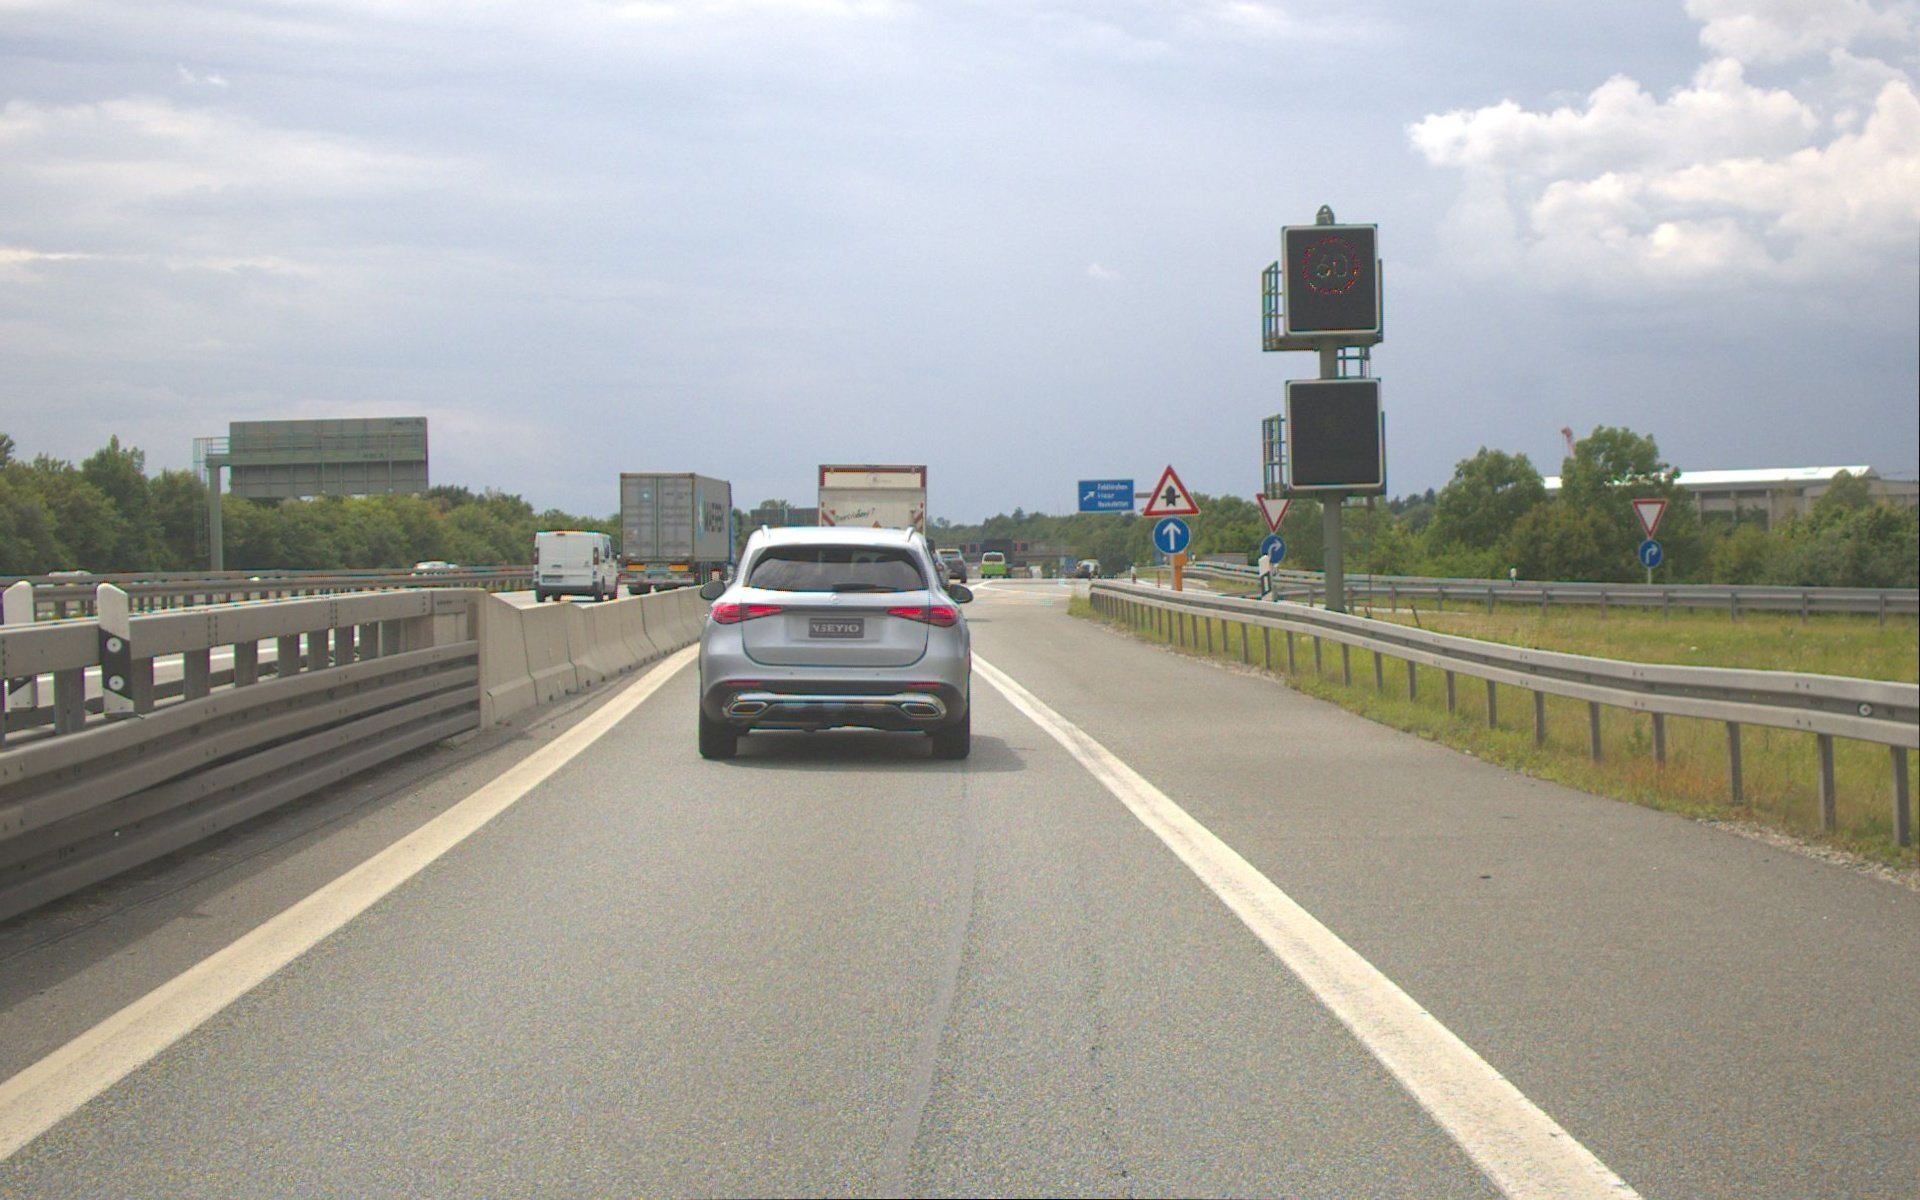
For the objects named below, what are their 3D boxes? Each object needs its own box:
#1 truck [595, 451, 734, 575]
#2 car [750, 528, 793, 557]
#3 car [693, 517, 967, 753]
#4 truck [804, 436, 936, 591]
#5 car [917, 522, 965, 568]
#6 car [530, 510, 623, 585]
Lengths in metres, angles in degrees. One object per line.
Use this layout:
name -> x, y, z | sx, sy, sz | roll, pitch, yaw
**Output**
truck -> -10.103, -3.128, 119.391 | 3.183, 4.005, 16.076 | 0, 2, 1
car -> -8.936, -2.754, 163.210 | 1.696, 1.283, 4.000 | 0, 2, 2
car -> -0.876, 0.189, 24.962 | 1.819, 1.509, 4.001 | 0, 2, 0
truck -> -1.848, -1.813, 73.644 | 2.569, 3.115, 8.635 | 0, 1, 0
car -> -0.856, -2.549, 157.575 | 1.993, 2.006, 4.374 | 0, 2, 2
car -> -10.753, -1.494, 96.697 | 1.993, 2.006, 4.374 | 0, 2, 2
